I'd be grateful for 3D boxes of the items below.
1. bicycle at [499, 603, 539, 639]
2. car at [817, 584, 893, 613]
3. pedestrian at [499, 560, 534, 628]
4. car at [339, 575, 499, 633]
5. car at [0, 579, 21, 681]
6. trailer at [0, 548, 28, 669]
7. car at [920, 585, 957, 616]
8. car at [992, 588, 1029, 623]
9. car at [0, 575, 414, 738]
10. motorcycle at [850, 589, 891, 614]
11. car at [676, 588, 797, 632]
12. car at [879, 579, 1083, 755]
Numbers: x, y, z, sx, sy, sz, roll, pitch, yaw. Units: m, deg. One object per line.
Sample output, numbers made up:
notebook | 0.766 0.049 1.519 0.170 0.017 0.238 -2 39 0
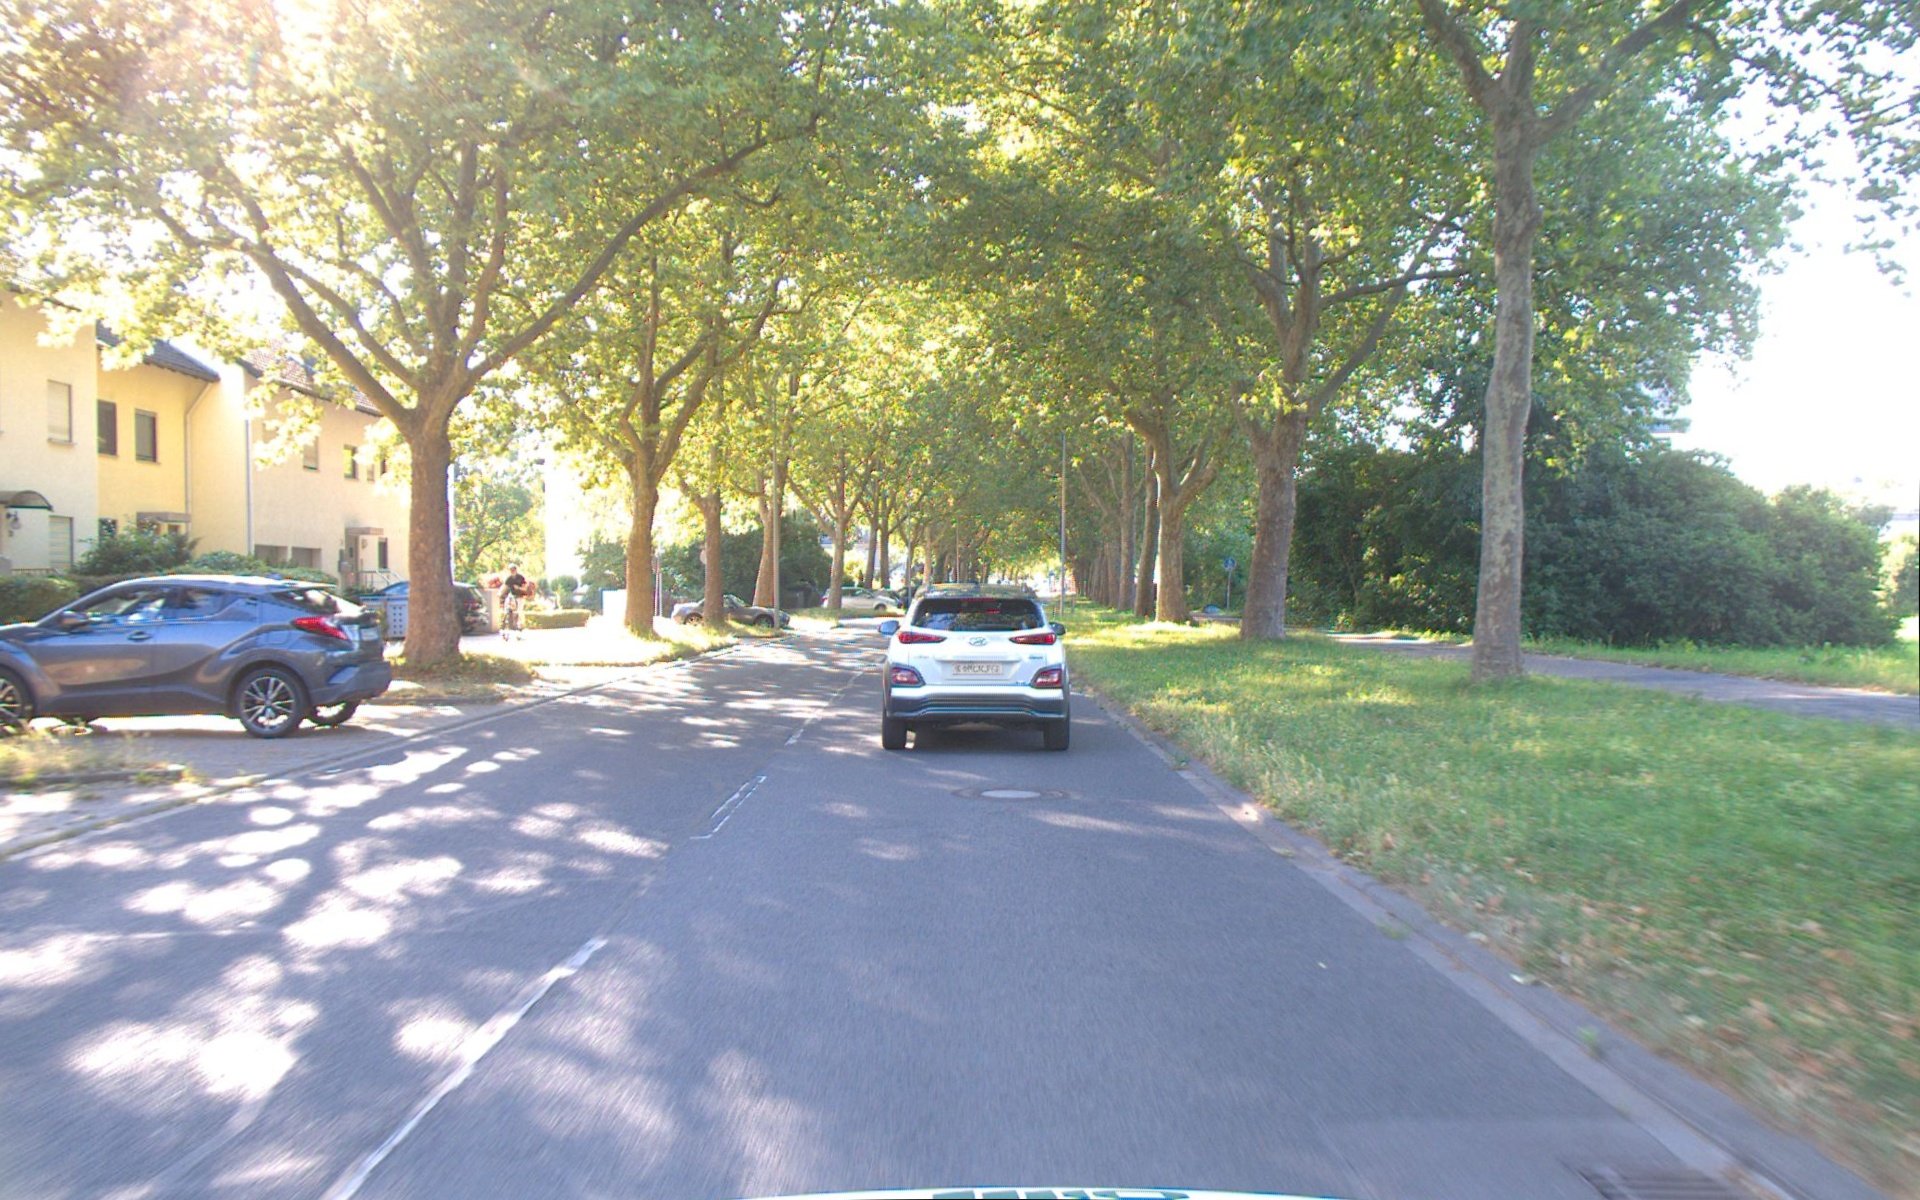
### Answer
bicycle | -11.503 0.541 43.189 0.460 0.895 2.156 0 0 0
car | -5.853 -0.087 92.540 4.098 1.612 2.000 0 0 -1
pedestrian | -11.560 -0.154 43.101 0.604 1.746 1.065 0 0 0
car | -15.454 0.119 47.378 3.905 1.489 1.901 2 0 1
car | -16.218 0.335 24.039 3.906 1.502 2.000 4 0 0
trailer | -17.453 0.048 27.043 3.384 1.959 1.643 4 1 -1
car | -1.116 0.013 87.020 1.747 1.539 3.839 1 0 2
car | 2.510 0.257 82.132 1.642 1.725 3.744 0 0 -1
car | -7.751 0.531 16.645 3.907 1.545 1.817 0 0 -2
motorcycle | -5.158 0.057 94.936 2.337 1.412 0.648 0 1 -2
car | -7.420 0.330 55.067 3.747 1.339 1.790 1 0 0
car | 0.098 0.588 16.942 1.799 1.583 3.997 1 1 -3
